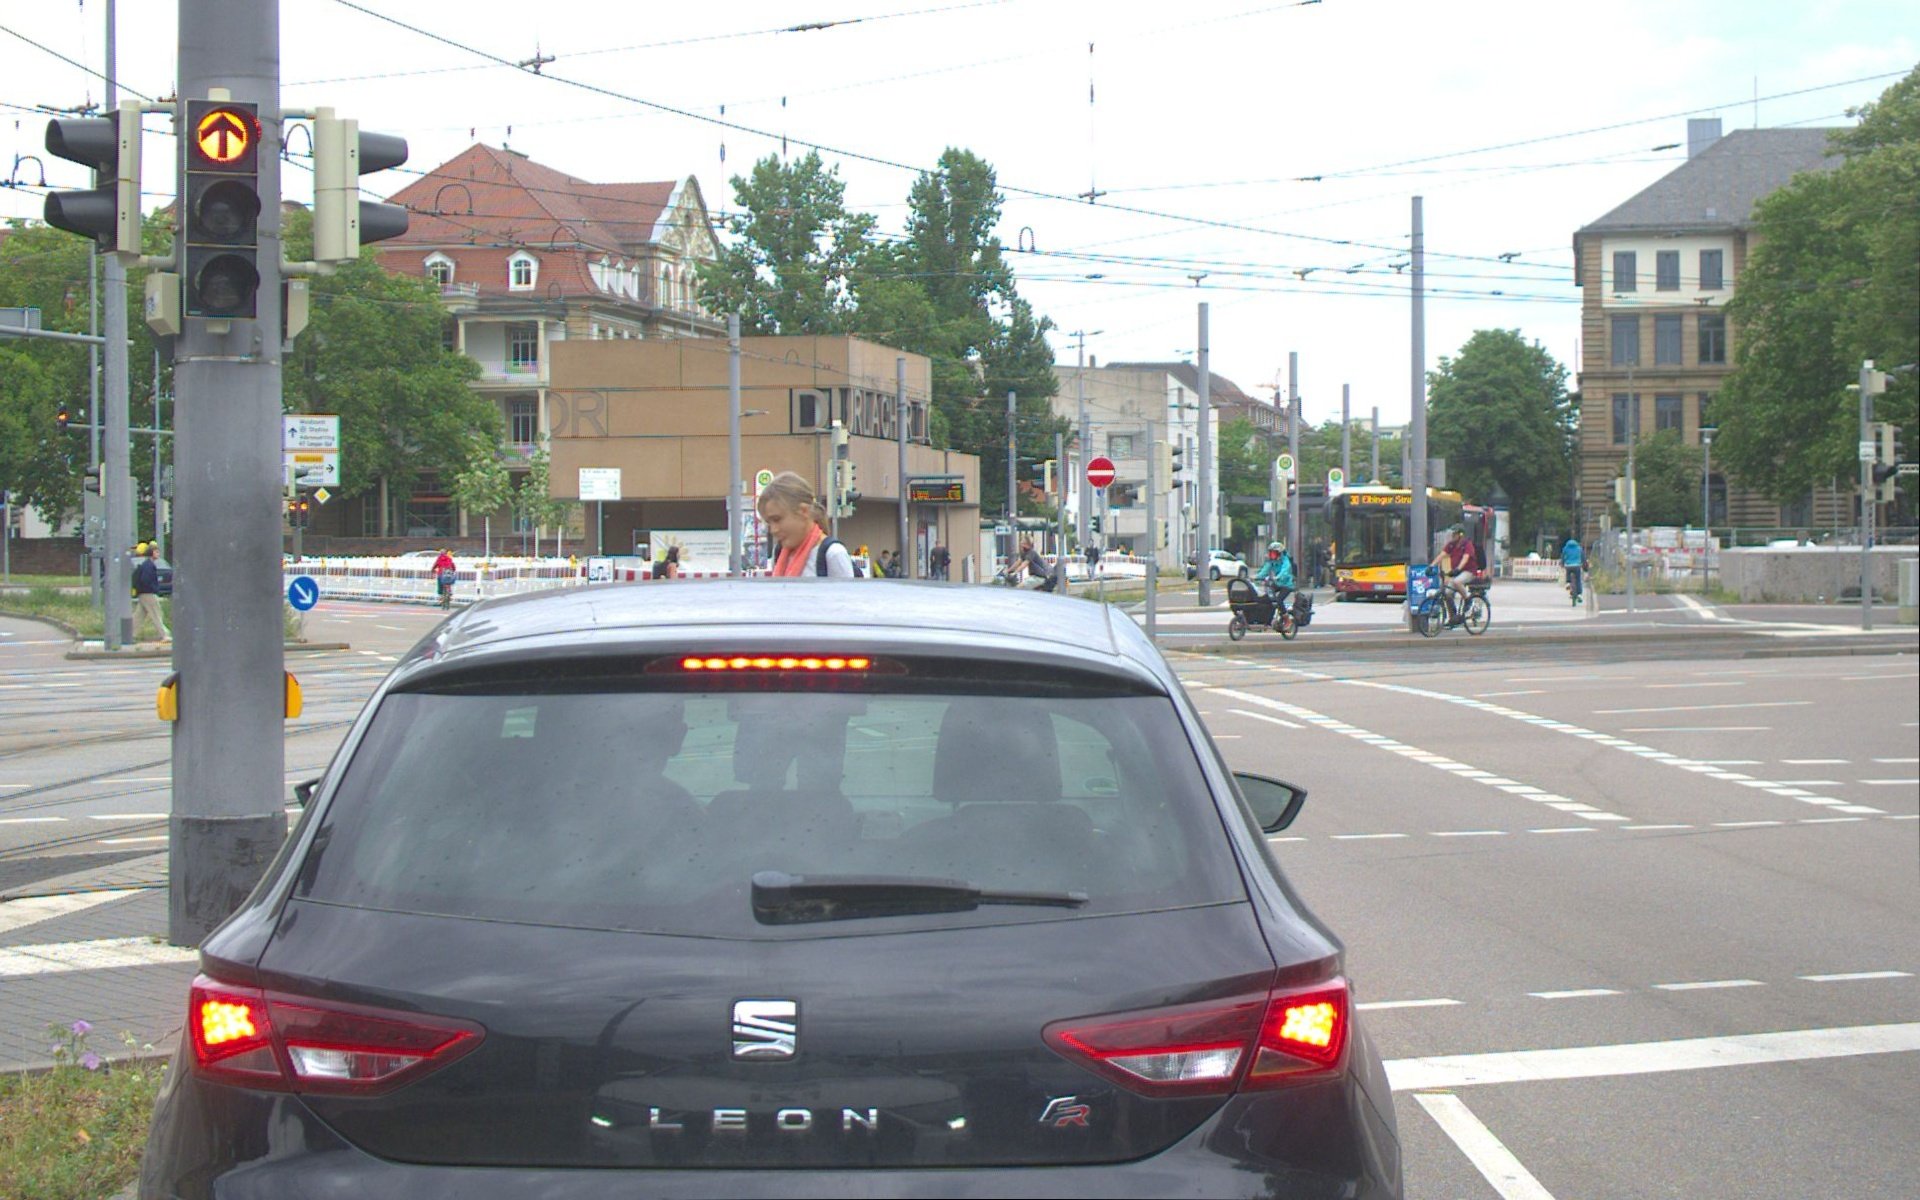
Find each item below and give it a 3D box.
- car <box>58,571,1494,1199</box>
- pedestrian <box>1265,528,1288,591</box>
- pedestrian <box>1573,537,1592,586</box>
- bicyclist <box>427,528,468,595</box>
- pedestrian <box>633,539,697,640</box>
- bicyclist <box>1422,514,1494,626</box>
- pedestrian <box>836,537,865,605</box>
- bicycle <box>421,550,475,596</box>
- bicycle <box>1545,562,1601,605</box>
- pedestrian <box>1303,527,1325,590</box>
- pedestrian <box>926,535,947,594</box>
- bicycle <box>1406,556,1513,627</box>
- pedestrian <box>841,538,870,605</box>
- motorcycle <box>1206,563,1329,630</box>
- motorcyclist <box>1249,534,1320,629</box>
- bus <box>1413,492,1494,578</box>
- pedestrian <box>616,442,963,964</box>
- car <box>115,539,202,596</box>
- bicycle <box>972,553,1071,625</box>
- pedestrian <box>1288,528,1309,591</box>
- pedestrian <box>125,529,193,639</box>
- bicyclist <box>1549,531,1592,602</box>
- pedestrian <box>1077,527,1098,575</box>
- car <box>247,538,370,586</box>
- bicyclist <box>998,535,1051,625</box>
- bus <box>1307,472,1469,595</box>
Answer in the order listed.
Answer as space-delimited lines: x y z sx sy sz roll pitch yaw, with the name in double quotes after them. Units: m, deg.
-0.354 0.690 5.994 1.704 1.444 3.813 0 1 -4 "car"
9.582 -1.235 104.057 0.621 1.911 0.698 0 1 9 "pedestrian"
25.459 -1.579 140.587 0.662 2.007 0.692 0 1 0 "pedestrian"
-13.418 -1.015 90.033 0.882 1.726 0.894 0 1 -22 "bicyclist"
-5.720 -0.212 66.674 0.700 1.927 1.028 0 1 38 "pedestrian"
8.504 -0.523 58.689 0.777 1.891 0.994 0 1 44 "bicyclist"
-3.081 -0.810 96.576 0.708 1.911 0.623 0 1 7 "pedestrian"
-13.434 -0.710 90.104 0.891 1.174 2.302 0 1 -22 "bicycle"
16.021 -0.435 89.964 0.865 1.101 2.302 0 1 -5 "bicycle"
10.752 -1.252 104.516 0.621 1.911 0.698 0 1 9 "pedestrian"
-0.755 -1.151 111.976 0.621 1.911 0.710 0 1 3 "pedestrian"
8.535 -0.159 58.705 0.777 1.180 2.027 1 1 44 "bicycle"
-2.959 -0.808 97.372 0.708 1.911 0.623 0 1 7 "pedestrian"
5.403 -0.070 60.289 2.135 1.135 0.744 -1 1 -33 "motorcycle"
5.717 -0.333 60.502 0.977 1.644 0.750 -1 0 -33 "motorcyclist"
19.662 -2.562 136.662 2.655 3.272 10.990 0 1 11 "bus"
-0.646 0.369 13.142 1.101 1.900 0.735 0 0 -43 "pedestrian"
-24.450 -0.971 104.762 1.993 1.678 4.001 0 0 -22 "car"
1.141 -0.211 63.719 1.730 1.317 0.645 -1 1 -12 "bicycle"
10.393 -1.246 105.545 0.621 1.911 0.710 0 1 3 "pedestrian"
-14.267 -0.292 61.241 1.027 1.927 0.701 -1 1 -25 "pedestrian"
15.999 -0.878 90.103 0.871 1.845 1.048 0 1 -6 "bicyclist"
5.203 -1.998 140.254 0.622 1.911 0.709 -1 0 25 "pedestrian"
-23.285 -1.352 123.031 3.987 1.678 2.000 -1 0 1 "car"
1.188 -0.376 63.727 0.854 1.667 0.654 0 1 -12 "bicyclist"
11.756 -1.803 93.452 2.962 3.112 11.531 0 1 14 "bus"
